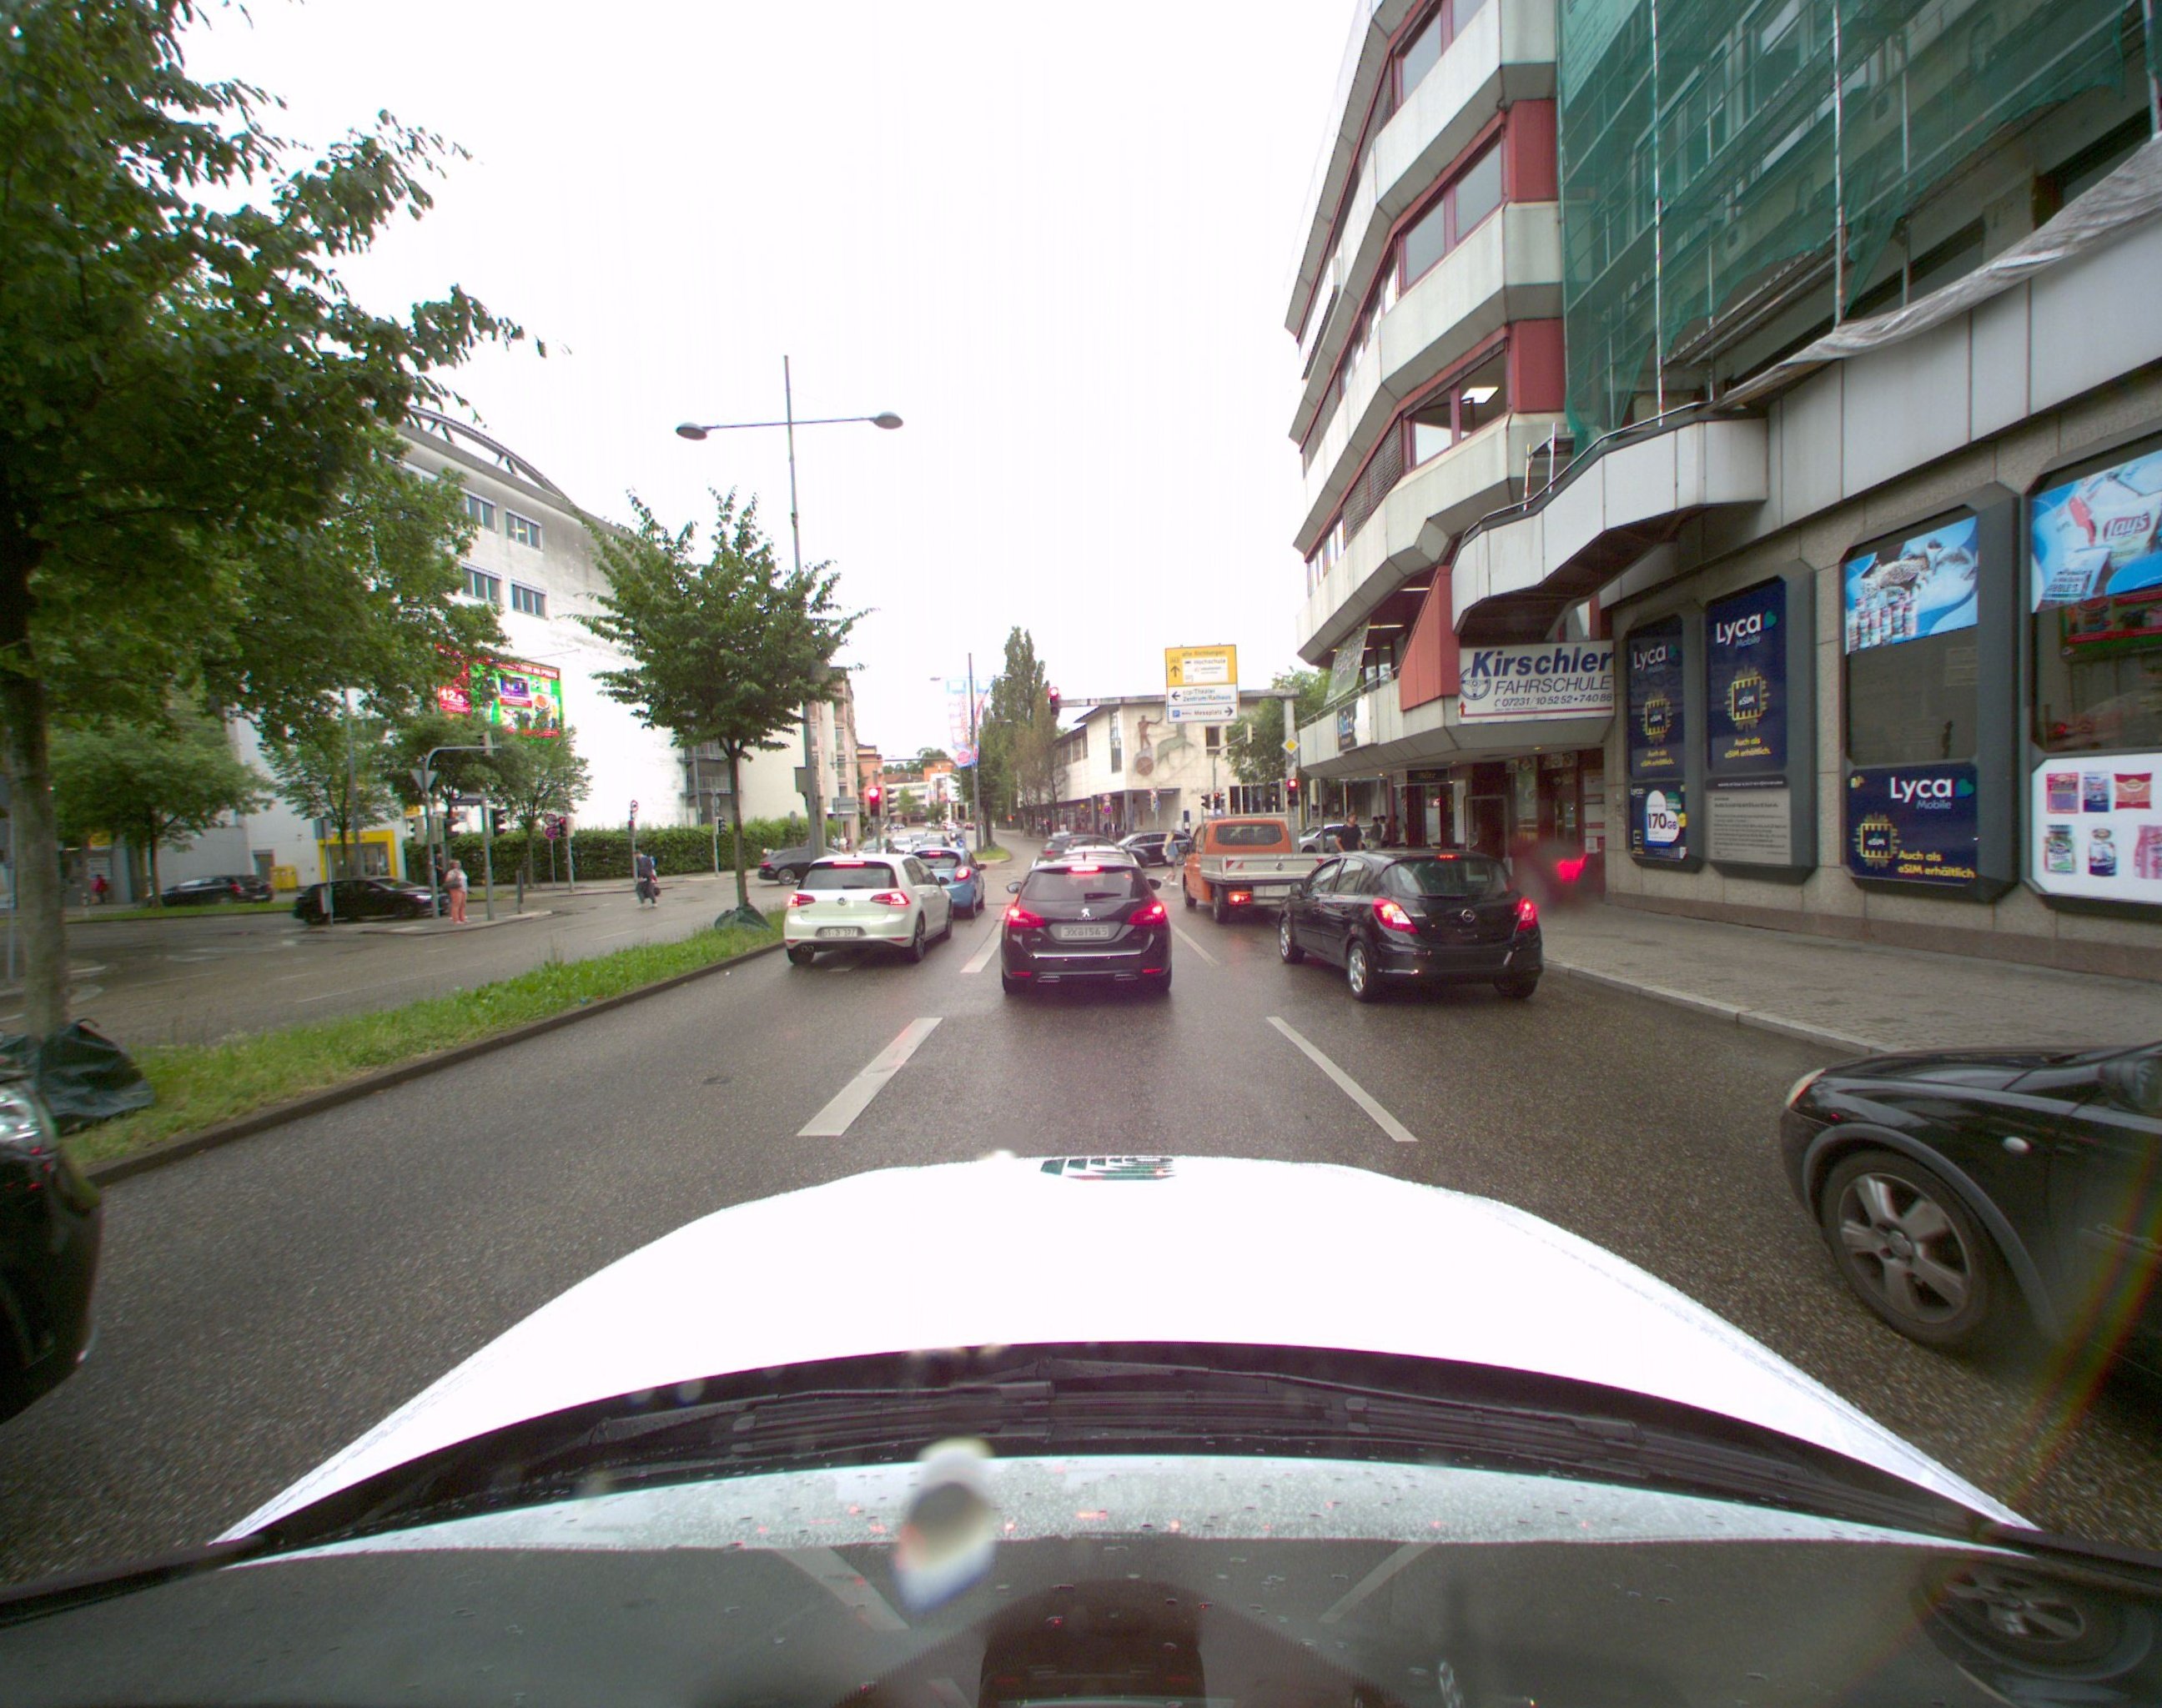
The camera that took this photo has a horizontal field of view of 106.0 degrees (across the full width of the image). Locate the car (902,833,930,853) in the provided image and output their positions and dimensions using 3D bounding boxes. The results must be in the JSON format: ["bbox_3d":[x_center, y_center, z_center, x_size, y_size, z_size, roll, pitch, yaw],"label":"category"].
[{"bbox_3d":[-12.516,-0.873,61.987,1.630,1.486,3.604,-1,1,-4],"label":"car"}]

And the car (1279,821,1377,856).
[{"bbox_3d":[11.013,-0.704,36.406,3.896,1.486,1.617,0,-1,-11],"label":"car"}]

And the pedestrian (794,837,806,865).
[{"bbox_3d":[-17.557,-0.194,50.918,0.538,1.748,0.745,0,-1,-7],"label":"pedestrian"}]

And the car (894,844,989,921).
[{"bbox_3d":[-3.003,0.540,18.167,1.629,1.486,3.606,-1,1,-3],"label":"car"}]

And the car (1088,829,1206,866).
[{"bbox_3d":[2.744,-0.300,34.420,4.721,1.486,1.633,-1,1,-9],"label":"car"}]

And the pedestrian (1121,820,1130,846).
[{"bbox_3d":[3.342,-1.549,61.262,0.633,1.897,0.735,-1,-1,8],"label":"pedestrian"}]

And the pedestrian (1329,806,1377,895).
[{"bbox_3d":[5.844,-0.069,17.527,0.736,1.816,0.776,-6,-1,13],"label":"pedestrian"}]

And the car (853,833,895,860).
[{"bbox_3d":[-12.092,-0.445,47.668,1.569,1.486,3.608,-1,1,-1],"label":"car"}]

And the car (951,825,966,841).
[{"bbox_3d":[-14.364,-2.445,95.469,1.743,1.640,3.988,0,-1,-9],"label":"car"}]

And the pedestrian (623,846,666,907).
[{"bbox_3d":[-13.100,0.673,24.449,0.921,1.784,0.708,-1,-1,-4],"label":"pedestrian"}]

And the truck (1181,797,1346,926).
[{"bbox_3d":[3.426,0.070,16.367,2.170,2.172,5.020,-1,1,0],"label":"truck"}]

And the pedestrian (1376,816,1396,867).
[{"bbox_3d":[10.122,-0.409,27.004,0.395,1.640,0.504,-3,-1,2],"label":"pedestrian"}]

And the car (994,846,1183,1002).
[{"bbox_3d":[0.073,0.645,9.647,1.772,1.429,3.842,-1,1,0],"label":"car"}]

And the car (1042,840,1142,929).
[{"bbox_3d":[0.244,0.496,15.889,1.690,1.486,3.795,-1,1,1],"label":"car"}]

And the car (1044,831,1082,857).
[{"bbox_3d":[-1.203,-0.596,52.239,1.725,1.490,4.715,0,-1,-11],"label":"car"}]

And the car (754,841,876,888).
[{"bbox_3d":[-10.771,0.372,33.075,4.507,1.454,1.781,-5,3,-20],"label":"car"}]

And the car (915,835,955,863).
[{"bbox_3d":[-8.691,-0.251,48.676,1.739,1.579,3.997,-1,-1,-1],"label":"car"}]

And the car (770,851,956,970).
[{"bbox_3d":[-3.034,0.700,12.155,1.773,1.429,3.840,-1,1,-1],"label":"car"}]

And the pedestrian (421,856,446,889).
[{"bbox_3d":[-32.547,0.918,40.922,0.730,1.643,0.638,-1,-1,-6],"label":"pedestrian"}]

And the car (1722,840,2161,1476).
[{"bbox_3d":[3.221,0.696,1.355,1.600,1.429,3.626,-1,1,3],"label":"car"}]

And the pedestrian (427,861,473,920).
[{"bbox_3d":[-18.514,1.071,23.917,0.750,1.661,0.628,-2,2,1],"label":"pedestrian"}]

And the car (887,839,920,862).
[{"bbox_3d":[-12.054,-0.261,55.452,1.630,1.486,3.604,-1,1,-4],"label":"car"}]

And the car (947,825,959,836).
[{"bbox_3d":[-23.136,-4.214,147.427,1.709,1.882,3.979,0,-1,-15],"label":"car"}]

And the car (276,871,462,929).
[{"bbox_3d":[-23.097,1.463,26.577,4.226,1.565,1.699,-3,1,-9],"label":"car"}]

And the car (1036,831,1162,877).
[{"bbox_3d":[0.645,-0.030,30.669,4.488,1.454,1.789,-2,2,-8],"label":"car"}]

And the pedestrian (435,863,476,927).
[{"bbox_3d":[-17.012,1.105,22.156,0.555,1.661,0.580,-2,2,1],"label":"pedestrian"}]

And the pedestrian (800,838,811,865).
[{"bbox_3d":[-17.773,-0.144,52.585,0.538,1.748,0.564,-1,-1,-3],"label":"pedestrian"}]

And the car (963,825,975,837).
[{"bbox_3d":[-20.402,-4.231,148.218,1.709,1.936,3.979,0,-1,-15],"label":"car"}]

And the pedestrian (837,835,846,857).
[{"bbox_3d":[-18.802,-0.650,63.949,0.595,1.728,0.655,0,-1,-7],"label":"pedestrian"}]

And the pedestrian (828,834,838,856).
[{"bbox_3d":[-19.413,-0.682,63.725,0.595,1.728,0.655,0,-1,-7],"label":"pedestrian"}]

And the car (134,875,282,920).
[{"bbox_3d":[-36.860,1.823,34.474,4.043,1.454,1.791,-4,3,-3],"label":"car"}]

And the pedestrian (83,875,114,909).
[{"bbox_3d":[-48.463,1.877,40.179,0.633,1.643,0.735,-1,-1,8],"label":"pedestrian"}]

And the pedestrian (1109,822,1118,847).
[{"bbox_3d":[2.417,-1.445,60.443,0.633,1.758,0.735,-1,-1,8],"label":"pedestrian"}]

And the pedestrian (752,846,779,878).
[{"bbox_3d":[-15.955,0.394,41.198,1.059,1.578,0.683,-1,-1,-3],"label":"pedestrian"}]

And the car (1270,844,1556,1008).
[{"bbox_3d":[3.412,0.618,9.181,1.611,1.429,3.840,-1,1,-1],"label":"car"}]

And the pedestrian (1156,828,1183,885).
[{"bbox_3d":[2.656,0.072,24.532,0.745,1.680,0.710,-1,-1,4],"label":"pedestrian"}]

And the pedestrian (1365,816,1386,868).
[{"bbox_3d":[9.640,-0.391,26.679,0.424,1.682,0.450,-3,-1,0],"label":"pedestrian"}]
